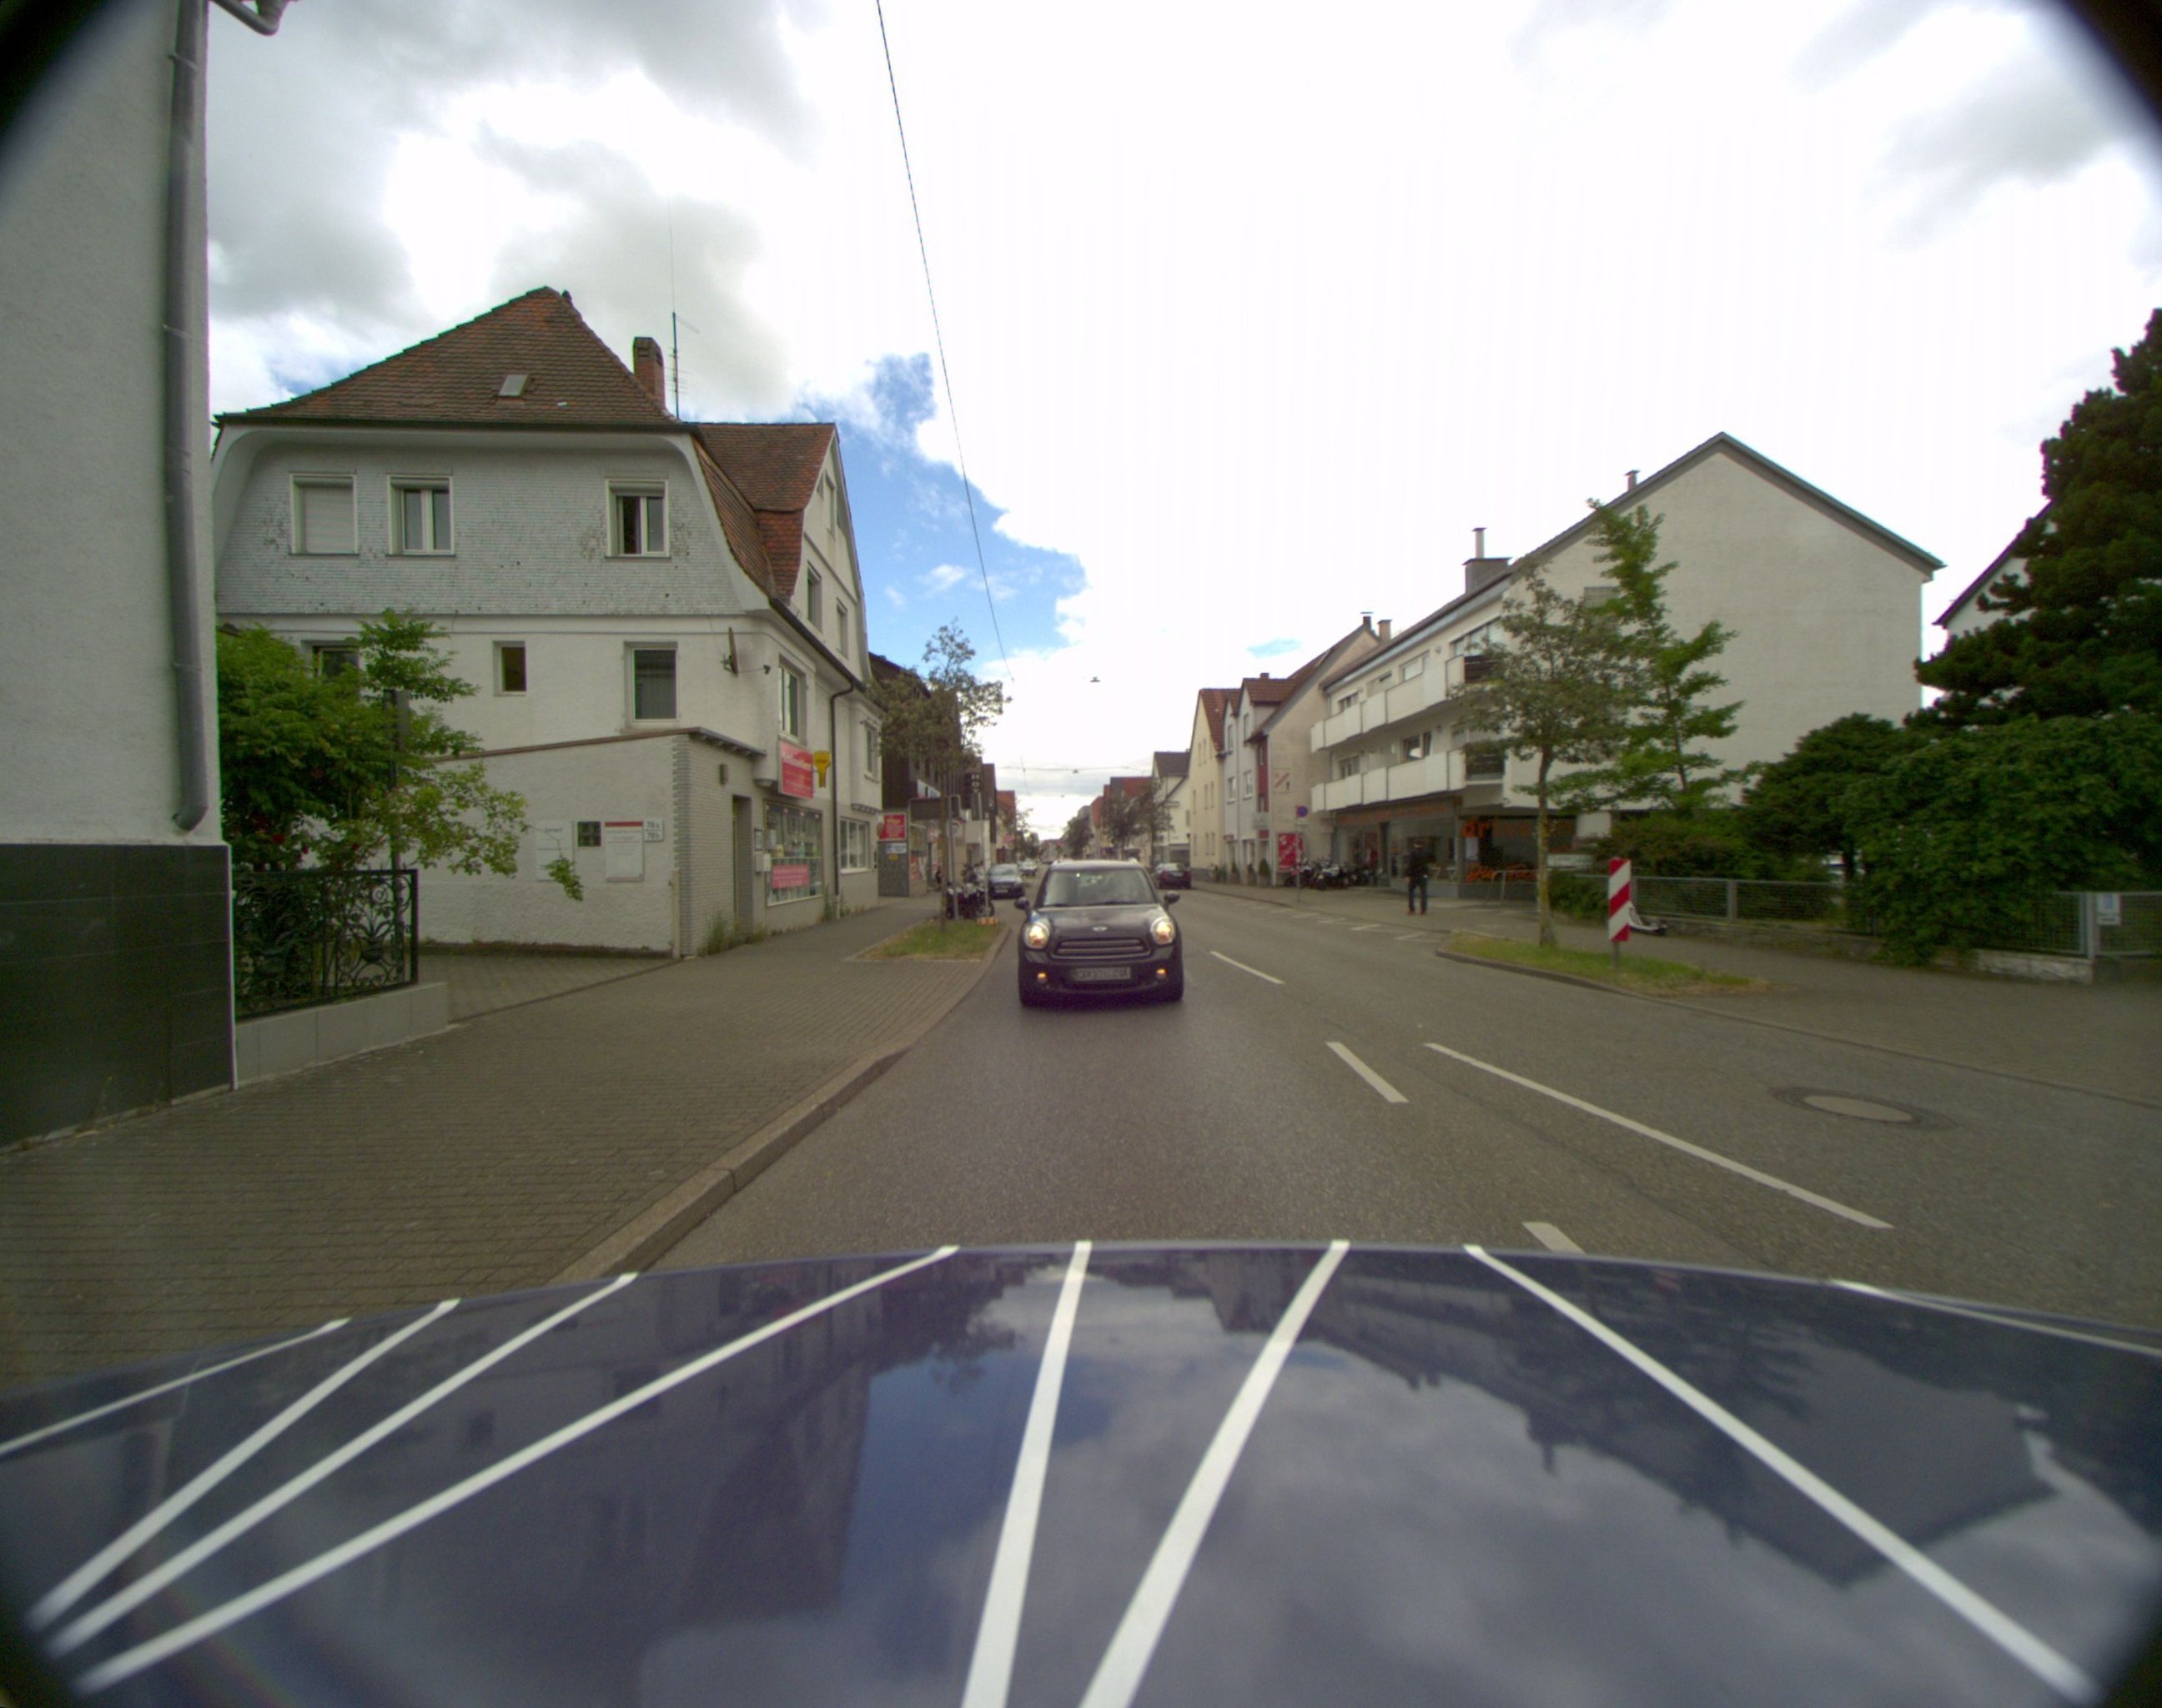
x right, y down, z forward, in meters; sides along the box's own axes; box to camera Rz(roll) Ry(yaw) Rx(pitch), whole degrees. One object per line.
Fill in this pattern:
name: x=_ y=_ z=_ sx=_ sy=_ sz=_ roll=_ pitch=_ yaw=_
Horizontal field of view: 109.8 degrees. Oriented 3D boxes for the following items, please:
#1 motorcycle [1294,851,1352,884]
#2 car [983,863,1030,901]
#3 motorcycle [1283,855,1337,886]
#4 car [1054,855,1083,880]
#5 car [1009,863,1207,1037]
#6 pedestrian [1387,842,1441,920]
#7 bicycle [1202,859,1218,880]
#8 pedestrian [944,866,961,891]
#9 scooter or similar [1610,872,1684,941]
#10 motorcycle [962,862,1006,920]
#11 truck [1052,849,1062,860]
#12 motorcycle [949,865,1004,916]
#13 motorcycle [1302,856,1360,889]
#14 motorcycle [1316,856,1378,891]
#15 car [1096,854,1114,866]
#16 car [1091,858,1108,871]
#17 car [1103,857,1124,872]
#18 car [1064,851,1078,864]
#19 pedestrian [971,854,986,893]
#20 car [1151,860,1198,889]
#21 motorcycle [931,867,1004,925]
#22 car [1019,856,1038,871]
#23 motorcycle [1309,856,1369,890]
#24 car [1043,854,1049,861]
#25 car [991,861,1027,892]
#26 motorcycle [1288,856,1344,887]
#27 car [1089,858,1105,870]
motorcycle: x=10.559 y=0.589 z=33.174 sx=2.231 sy=1.258 sz=0.699 roll=-4 pitch=1 yaw=-3
car: x=-3.192 y=1.161 z=33.235 sx=1.830 sy=1.400 sz=4.563 roll=-2 pitch=0 yaw=-3
motorcycle: x=10.457 y=0.757 z=34.711 sx=2.231 sy=1.258 sz=0.613 roll=-4 pitch=1 yaw=-3
car: x=-0.887 y=0.900 z=52.452 sx=1.855 sy=1.615 sz=4.735 roll=-2 pitch=0 yaw=-1
car: x=0.112 y=0.939 z=9.630 sx=1.855 sy=1.527 sz=4.734 roll=-2 pitch=0 yaw=-4
pedestrian: x=8.283 y=0.647 z=18.923 sx=0.753 sy=1.838 sz=1.019 roll=-5 pitch=1 yaw=-2
bicycle: x=7.811 y=0.914 z=46.150 sx=0.515 sy=1.189 sz=2.023 roll=-2 pitch=0 yaw=-3
pedestrian: x=-6.283 y=1.196 z=37.065 sx=0.742 sy=1.204 sz=0.643 roll=0 pitch=1 yaw=-3
scooter or similar: x=9.774 y=0.886 z=13.159 sx=0.340 sy=1.105 sz=1.180 roll=-2 pitch=0 yaw=-2
motorcycle: x=-2.763 y=1.015 z=21.876 sx=0.672 sy=1.516 sz=2.598 roll=-2 pitch=0 yaw=5
truck: x=-6.648 y=0.182 z=209.288 sx=2.800 sy=3.020 sz=8.249 roll=-2 pitch=0 yaw=-2
motorcycle: x=-3.159 y=1.077 z=23.260 sx=0.648 sy=1.432 sz=2.472 roll=-2 pitch=0 yaw=17
motorcycle: x=10.649 y=0.769 z=32.367 sx=2.231 sy=1.258 sz=0.613 roll=-4 pitch=1 yaw=-3
motorcycle: x=10.726 y=0.771 z=30.672 sx=2.231 sy=1.258 sz=0.613 roll=-4 pitch=1 yaw=-3
car: x=2.735 y=0.669 z=87.692 sx=1.716 sy=1.389 sz=3.899 roll=-2 pitch=0 yaw=-4
car: x=2.226 y=1.264 z=92.455 sx=1.716 sy=1.389 sz=3.899 roll=-2 pitch=0 yaw=-4
car: x=3.245 y=1.034 z=77.167 sx=1.716 sy=1.389 sz=3.899 roll=-2 pitch=0 yaw=-4
car: x=-1.568 y=0.584 z=119.280 sx=1.856 sy=1.932 sz=4.489 roll=1 pitch=0 yaw=-4
pedestrian: x=-4.583 y=0.859 z=34.000 sx=0.644 sy=1.730 sz=0.742 roll=0 pitch=1 yaw=-8
car: x=5.033 y=1.083 z=41.363 sx=1.793 sy=1.409 sz=4.340 roll=0 pitch=0 yaw=-3
motorcycle: x=-2.962 y=1.045 z=19.626 sx=0.777 sy=1.373 sz=2.237 roll=-2 pitch=1 yaw=-39
car: x=-5.199 y=0.916 z=75.542 sx=1.795 sy=1.356 sz=3.948 roll=1 pitch=0 yaw=-2
motorcycle: x=10.714 y=0.768 z=31.542 sx=2.231 sy=1.258 sz=0.613 roll=-4 pitch=1 yaw=-3
car: x=-10.989 y=1.013 z=237.962 sx=2.059 sy=2.002 sz=4.185 roll=-2 pitch=0 yaw=-3
car: x=-3.639 y=1.100 z=38.962 sx=1.645 sy=1.433 sz=3.901 roll=-2 pitch=0 yaw=-3
motorcycle: x=10.503 y=0.769 z=33.991 sx=2.231 sy=1.258 sz=0.613 roll=-4 pitch=1 yaw=-3
car: x=2.061 y=1.253 z=98.312 sx=1.716 sy=1.389 sz=3.899 roll=-2 pitch=0 yaw=-4
